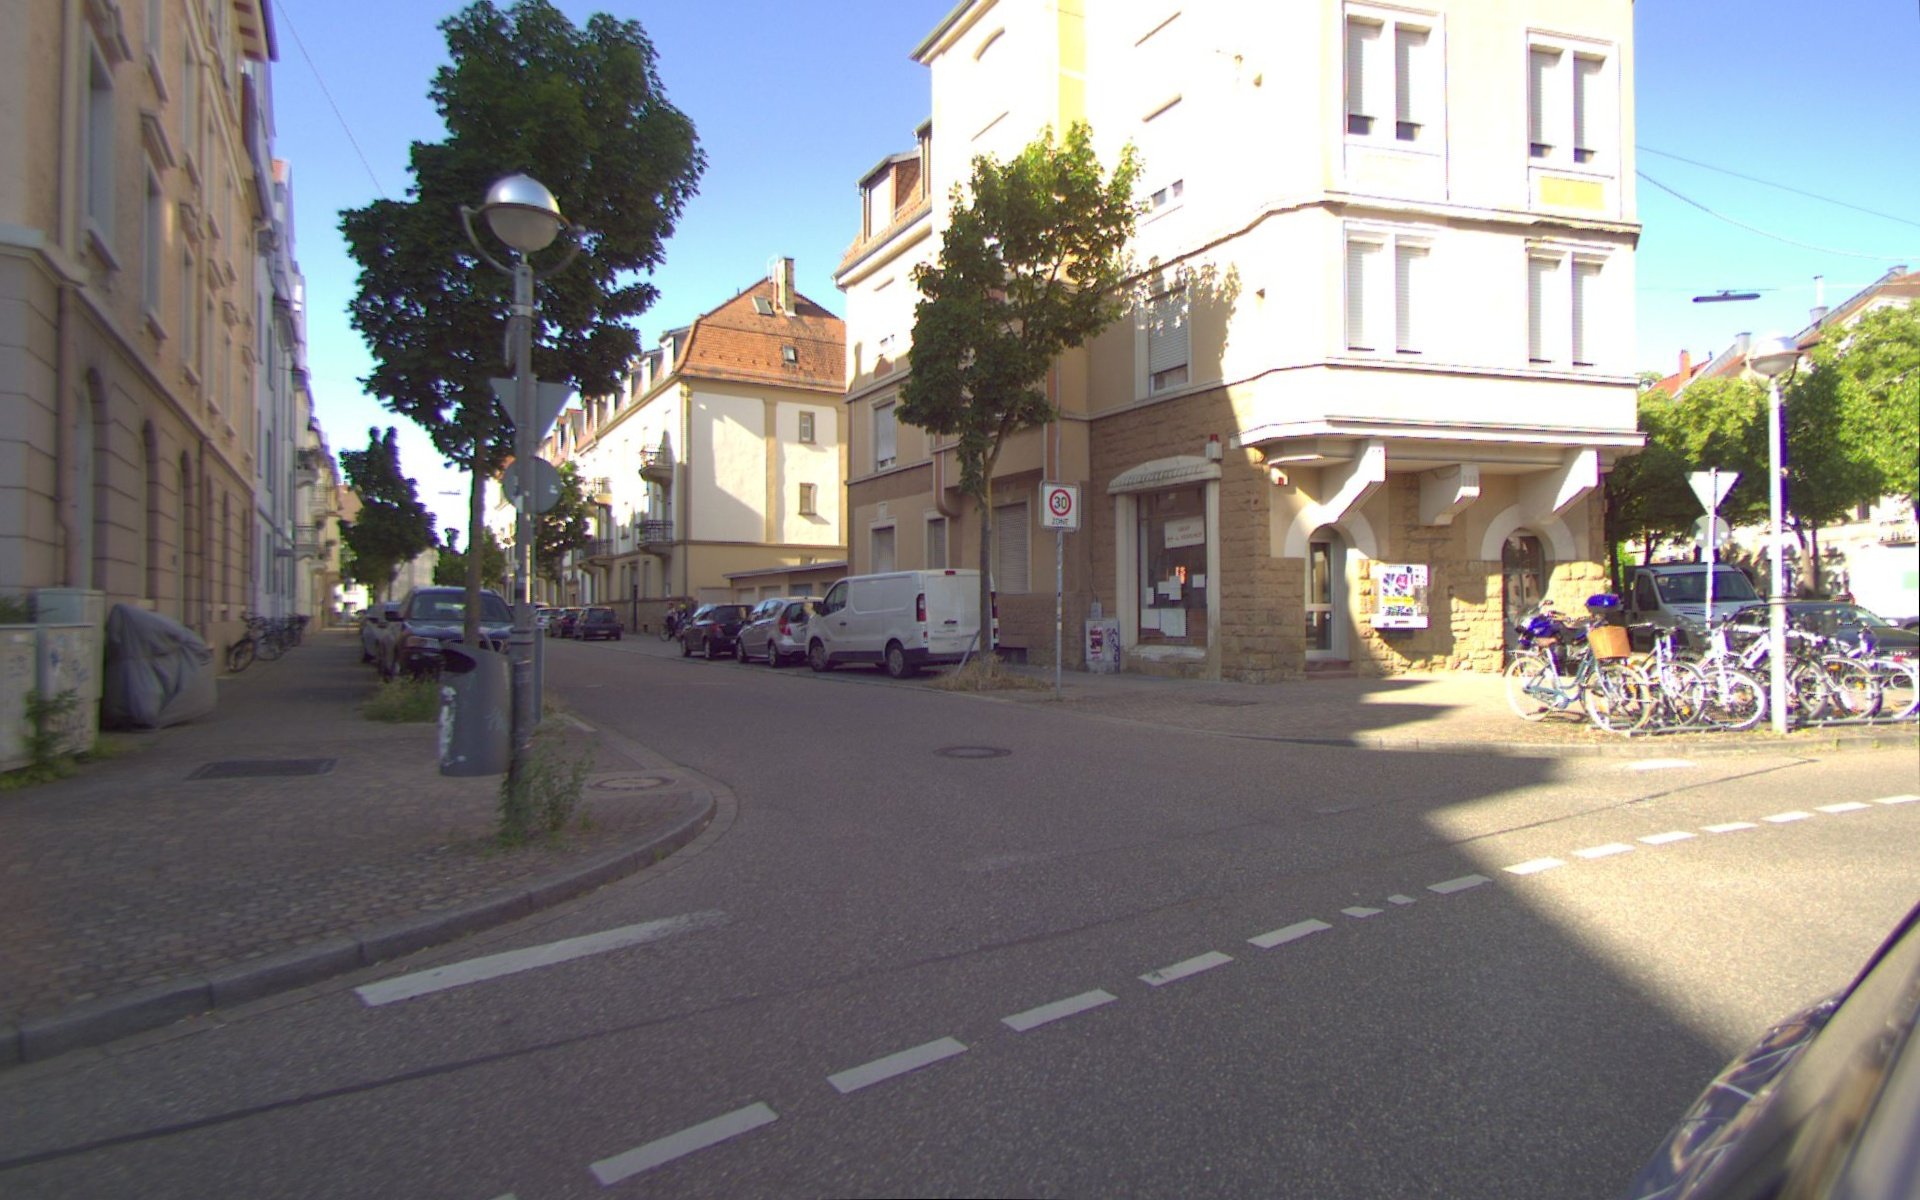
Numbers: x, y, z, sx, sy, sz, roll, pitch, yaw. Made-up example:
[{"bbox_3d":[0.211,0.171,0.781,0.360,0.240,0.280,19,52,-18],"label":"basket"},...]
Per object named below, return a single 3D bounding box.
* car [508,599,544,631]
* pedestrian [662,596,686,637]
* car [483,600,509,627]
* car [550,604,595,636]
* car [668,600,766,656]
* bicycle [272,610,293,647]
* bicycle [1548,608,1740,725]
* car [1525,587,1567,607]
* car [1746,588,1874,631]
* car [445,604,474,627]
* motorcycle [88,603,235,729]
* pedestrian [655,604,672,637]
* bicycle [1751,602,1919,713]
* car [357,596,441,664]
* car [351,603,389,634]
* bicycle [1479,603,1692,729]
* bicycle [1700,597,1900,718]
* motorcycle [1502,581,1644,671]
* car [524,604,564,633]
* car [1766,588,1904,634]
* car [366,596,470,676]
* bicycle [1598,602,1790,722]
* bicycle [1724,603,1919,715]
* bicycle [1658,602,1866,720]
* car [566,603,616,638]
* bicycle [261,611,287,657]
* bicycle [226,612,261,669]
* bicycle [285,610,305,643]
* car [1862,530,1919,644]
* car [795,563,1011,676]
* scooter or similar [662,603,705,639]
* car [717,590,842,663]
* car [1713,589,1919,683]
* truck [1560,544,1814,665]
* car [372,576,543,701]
[{"bbox_3d":[-24.980,0.835,58.176,1.605,1.769,3.338,0,-1,-28],"label":"car"},{"bbox_3d":[-11.926,0.677,42.180,0.754,1.683,0.774,1,-2,-32],"label":"pedestrian"},{"bbox_3d":[-32.083,0.935,69.954,1.480,1.769,3.338,0,-1,-28],"label":"car"},{"bbox_3d":[-18.326,0.909,47.783,1.605,1.446,3.338,0,-1,-28],"label":"car"},{"bbox_3d":[-6.771,0.735,27.960,1.606,1.446,3.334,0,-1,-33],"label":"car"},{"bbox_3d":[-21.573,0.897,32.227,0.490,1.122,1.801,0,0,-32],"label":"bicycle"},{"bbox_3d":[7.103,0.643,10.634,0.525,1.104,1.882,-1,0,-8],"label":"bicycle"},{"bbox_3d":[46.613,-0.248,80.542,1.773,1.529,3.983,-1,0,14],"label":"car"},{"bbox_3d":[31.593,0.331,37.670,1.657,1.488,3.382,1,0,-38],"label":"car"},{"bbox_3d":[-33.043,1.014,66.817,1.605,1.502,3.338,0,-1,-28],"label":"car"},{"bbox_3d":[-8.728,0.665,11.171,0.924,1.236,2.155,2,-1,-30],"label":"motorcycle"},{"bbox_3d":[-12.192,0.833,41.562,0.528,1.348,0.556,1,-2,-32],"label":"pedestrian"},{"bbox_3d":[9.931,0.597,11.348,0.473,1.137,1.722,-1,0,-14],"label":"bicycle"},{"bbox_3d":[-13.701,0.697,24.721,1.668,1.505,4.006,0,-1,-30],"label":"car"},{"bbox_3d":[-31.150,0.951,53.481,1.668,1.544,3.773,0,-1,-30],"label":"car"},{"bbox_3d":[6.355,0.627,10.427,0.685,1.144,1.871,-2,-1,-14],"label":"bicycle"},{"bbox_3d":[9.082,0.576,11.035,0.442,1.207,1.700,-1,0,-16],"label":"bicycle"},{"bbox_3d":[10.222,0.431,16.889,2.203,1.429,0.702,1,0,-17],"label":"motorcycle"},{"bbox_3d":[-22.038,0.963,53.547,1.605,1.446,3.338,0,-1,-28],"label":"car"},{"bbox_3d":[30.321,0.364,35.137,1.657,1.488,3.382,1,0,-38],"label":"car"},{"bbox_3d":[-10.746,0.655,20.003,1.668,1.430,3.666,0,-1,-30],"label":"car"},{"bbox_3d":[7.714,0.609,10.742,0.625,1.160,1.699,-1,0,-8],"label":"bicycle"},{"bbox_3d":[9.478,0.602,11.169,0.473,1.137,1.700,-1,0,-16],"label":"bicycle"},{"bbox_3d":[8.546,0.606,10.876,0.604,1.160,1.700,-1,0,-16],"label":"bicycle"},{"bbox_3d":[-16.081,0.881,43.987,1.605,1.446,3.338,0,-1,-28],"label":"car"},{"bbox_3d":[-17.607,0.843,25.984,0.490,1.122,1.801,0,0,-32],"label":"bicycle"},{"bbox_3d":[-14.864,0.820,21.023,0.490,1.122,1.801,0,0,-32],"label":"bicycle"},{"bbox_3d":[-23.572,0.932,35.877,0.554,1.122,1.801,0,0,-32],"label":"bicycle"},{"bbox_3d":[24.166,-0.263,22.116,2.063,2.633,6.376,1,0,-35],"label":"car"},{"bbox_3d":[-1.244,0.360,19.845,2.101,1.933,4.559,0,-1,-36],"label":"car"},{"bbox_3d":[-10.897,0.821,39.889,1.308,1.398,1.353,1,-1,-32],"label":"scooter or similar"},{"bbox_3d":[-4.388,0.598,24.202,1.606,1.593,3.739,0,-1,-33],"label":"car"},{"bbox_3d":[14.962,0.548,17.340,1.661,1.408,3.910,-2,0,10],"label":"car"},{"bbox_3d":[16.111,0.095,23.030,2.106,2.321,6.597,-2,0,12],"label":"truck"},{"bbox_3d":[-7.943,0.528,15.778,1.872,1.663,4.348,0,-1,-33],"label":"car"}]
